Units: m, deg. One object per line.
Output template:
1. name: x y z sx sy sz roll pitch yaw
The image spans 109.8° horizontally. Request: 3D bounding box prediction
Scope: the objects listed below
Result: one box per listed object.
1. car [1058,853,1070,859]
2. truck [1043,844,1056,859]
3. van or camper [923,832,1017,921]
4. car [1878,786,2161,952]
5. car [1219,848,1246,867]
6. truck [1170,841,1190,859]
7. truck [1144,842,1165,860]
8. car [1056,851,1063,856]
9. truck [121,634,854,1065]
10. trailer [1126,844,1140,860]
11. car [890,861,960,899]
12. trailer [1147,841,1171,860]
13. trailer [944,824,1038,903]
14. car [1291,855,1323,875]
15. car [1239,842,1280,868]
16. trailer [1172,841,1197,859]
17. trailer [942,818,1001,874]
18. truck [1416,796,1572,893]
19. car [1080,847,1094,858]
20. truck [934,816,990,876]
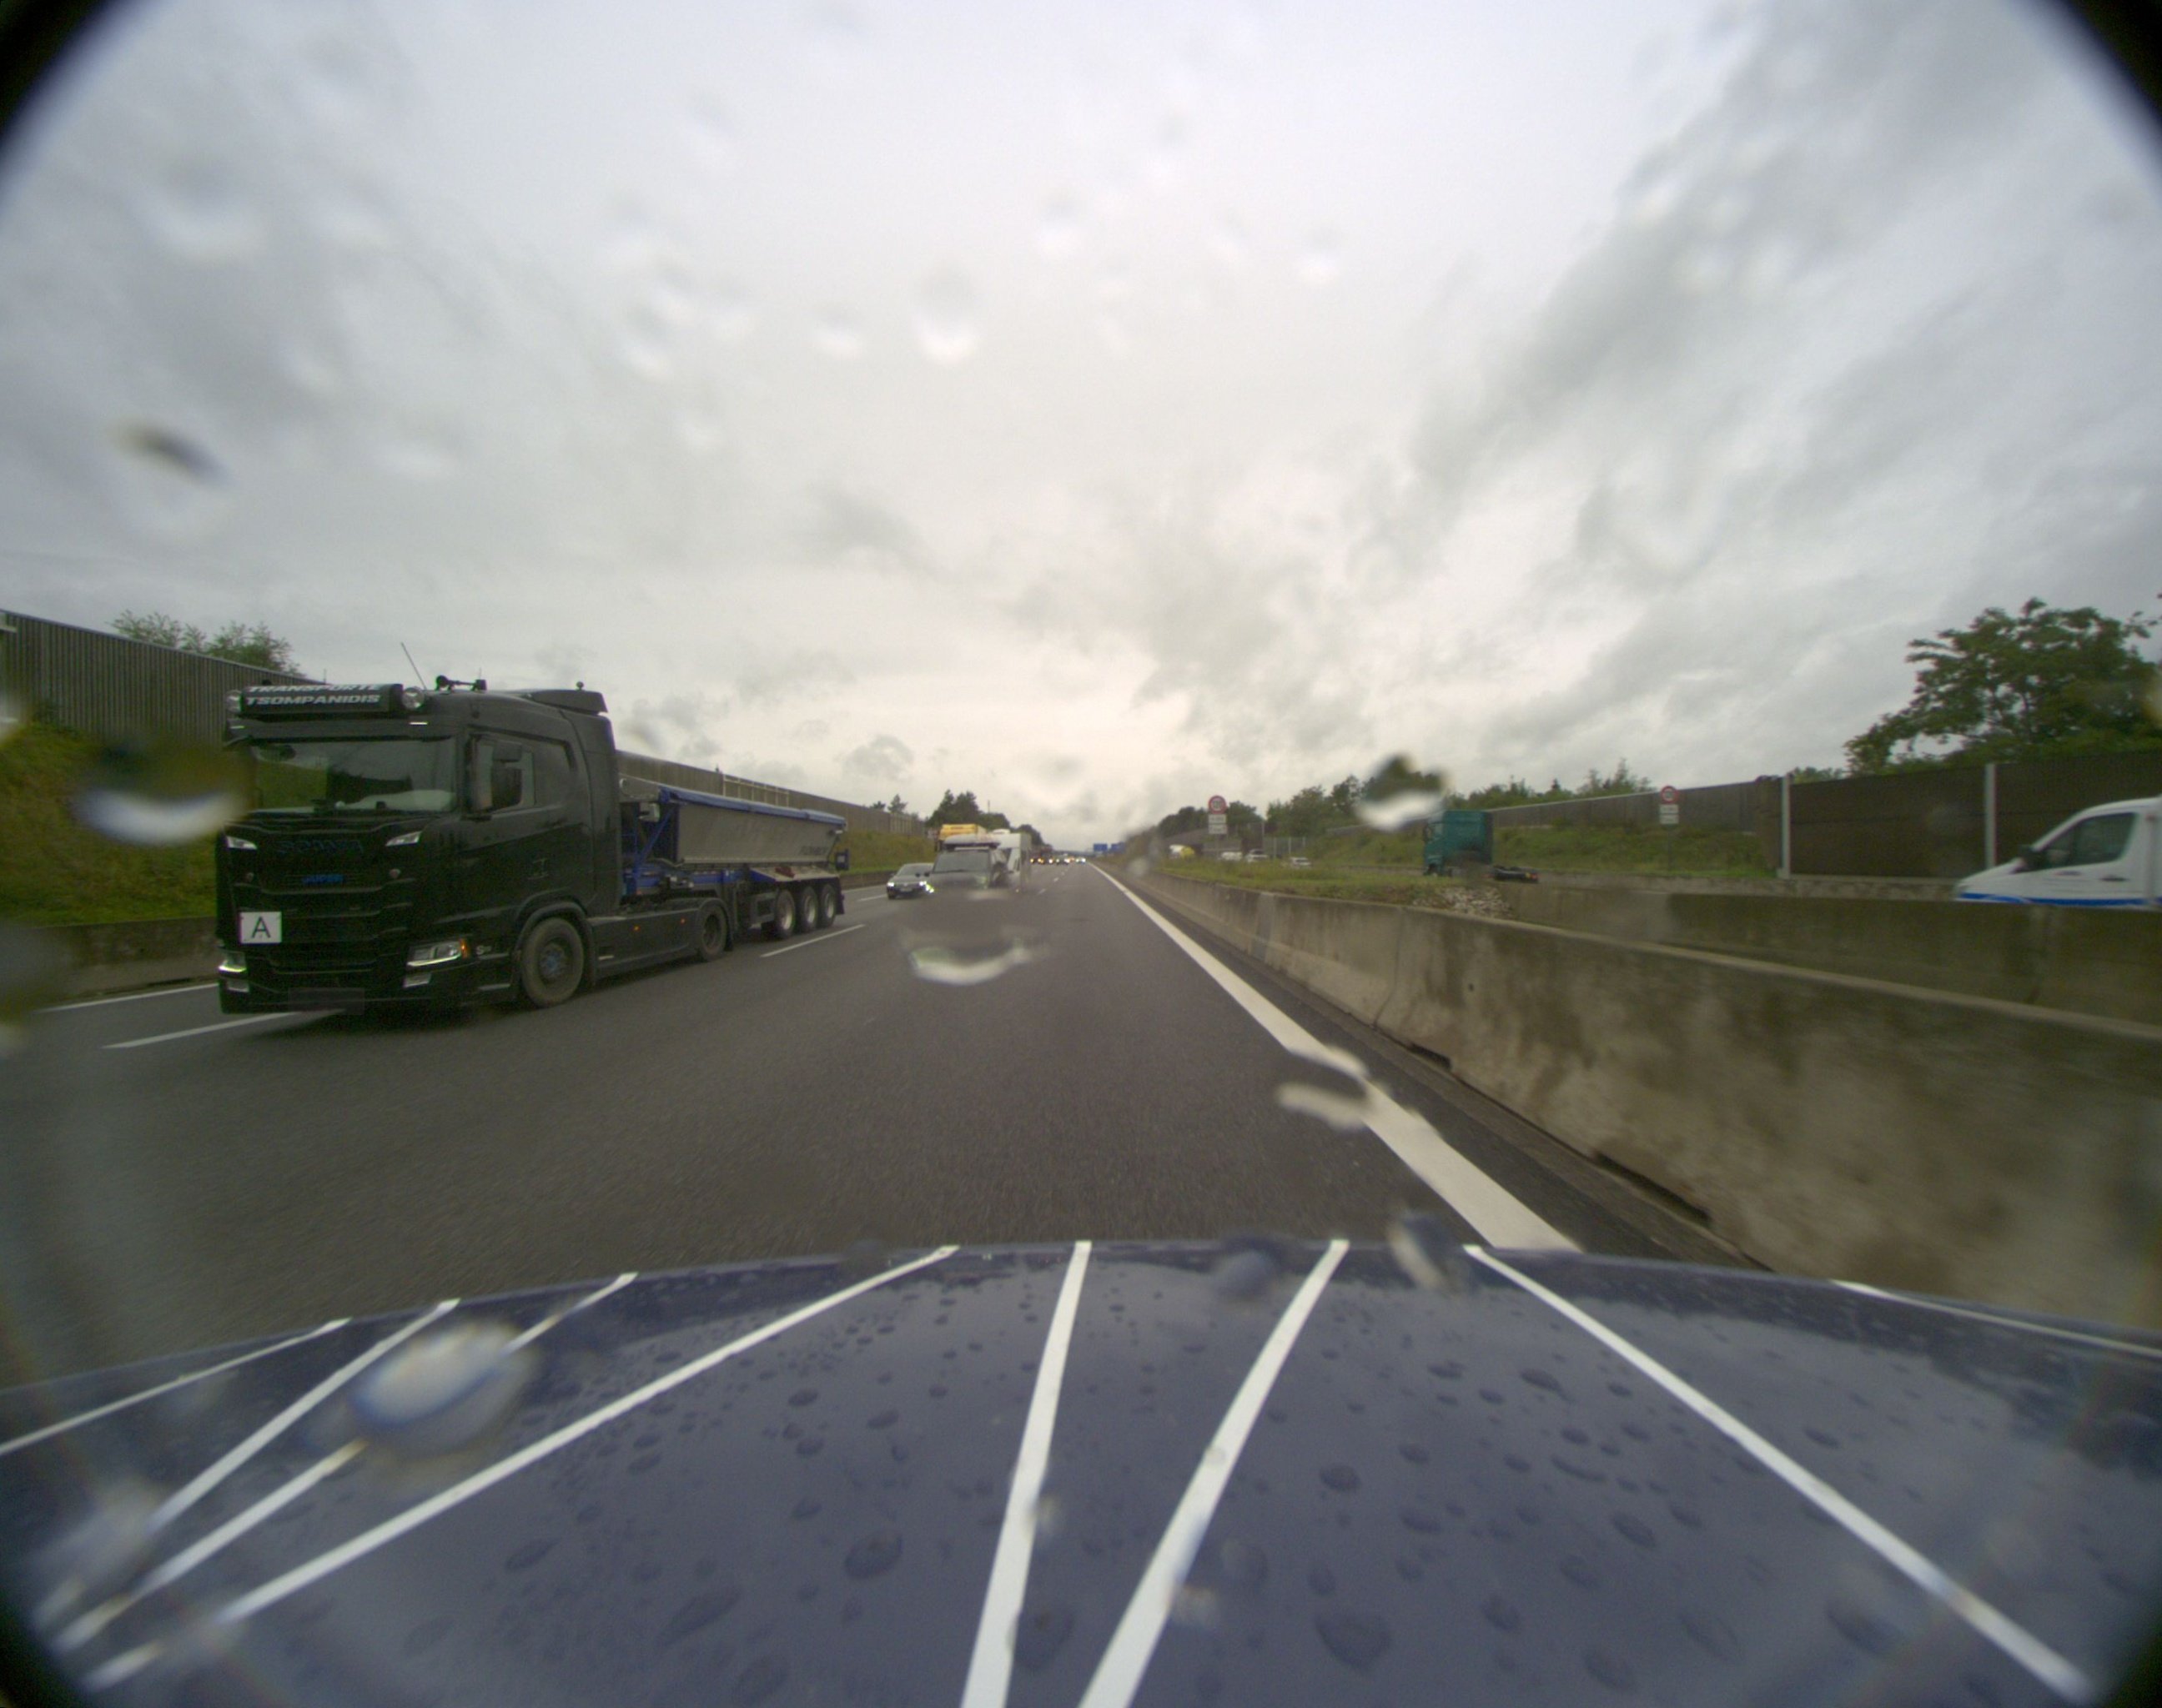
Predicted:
1. car: -3.101 0.355 136.714 2.061 1.020 3.438 -2 0 0
2. truck: -7.076 -0.596 171.100 2.617 3.218 4.632 -1 0 0
3. van or camper: -3.104 0.598 22.426 1.895 2.256 5.679 -2 0 0
4. car: 14.155 0.150 8.933 2.219 2.002 7.058 -2 0 1
5. car: 17.342 0.371 87.423 1.912 2.002 5.953 -2 0 0
6. truck: 17.677 -0.697 136.275 2.628 3.002 5.612 -2 1 -1
7. truck: 13.391 -0.575 139.866 2.963 3.049 8.726 -2 0 0
8. car: -6.783 -0.142 241.181 1.998 1.747 4.000 -1 0 0
9. truck: -7.398 -0.076 13.414 2.820 3.927 12.712 -2 0 0
10. trailer: 17.155 -0.607 250.271 3.225 4.857 13.523 -2 0 -2
11. car: -6.744 1.068 33.419 1.944 1.419 5.289 -2 0 0
12. trailer: 13.314 -0.638 130.209 2.963 2.942 10.567 -2 0 0
13. trailer: -3.214 0.320 29.010 2.728 2.627 7.511 -1 0 0
14. car: 18.525 0.899 62.381 1.656 1.482 3.296 -2 1 1
15. car: 14.329 0.064 61.185 1.998 2.002 5.618 -2 0 1
16. trailer: 17.730 -0.698 130.586 2.618 2.971 10.795 -2 0 -1
17. trailer: -8.667 -0.634 62.466 2.658 3.930 16.682 -2 0 -1
18. truck: 18.446 -0.398 34.624 2.869 3.816 7.521 -2 1 0
19. car: 1.319 -0.297 168.461 2.680 2.340 5.807 -1 0 -2
20. truck: -8.509 -0.564 55.448 2.693 3.935 9.324 -2 0 -1
